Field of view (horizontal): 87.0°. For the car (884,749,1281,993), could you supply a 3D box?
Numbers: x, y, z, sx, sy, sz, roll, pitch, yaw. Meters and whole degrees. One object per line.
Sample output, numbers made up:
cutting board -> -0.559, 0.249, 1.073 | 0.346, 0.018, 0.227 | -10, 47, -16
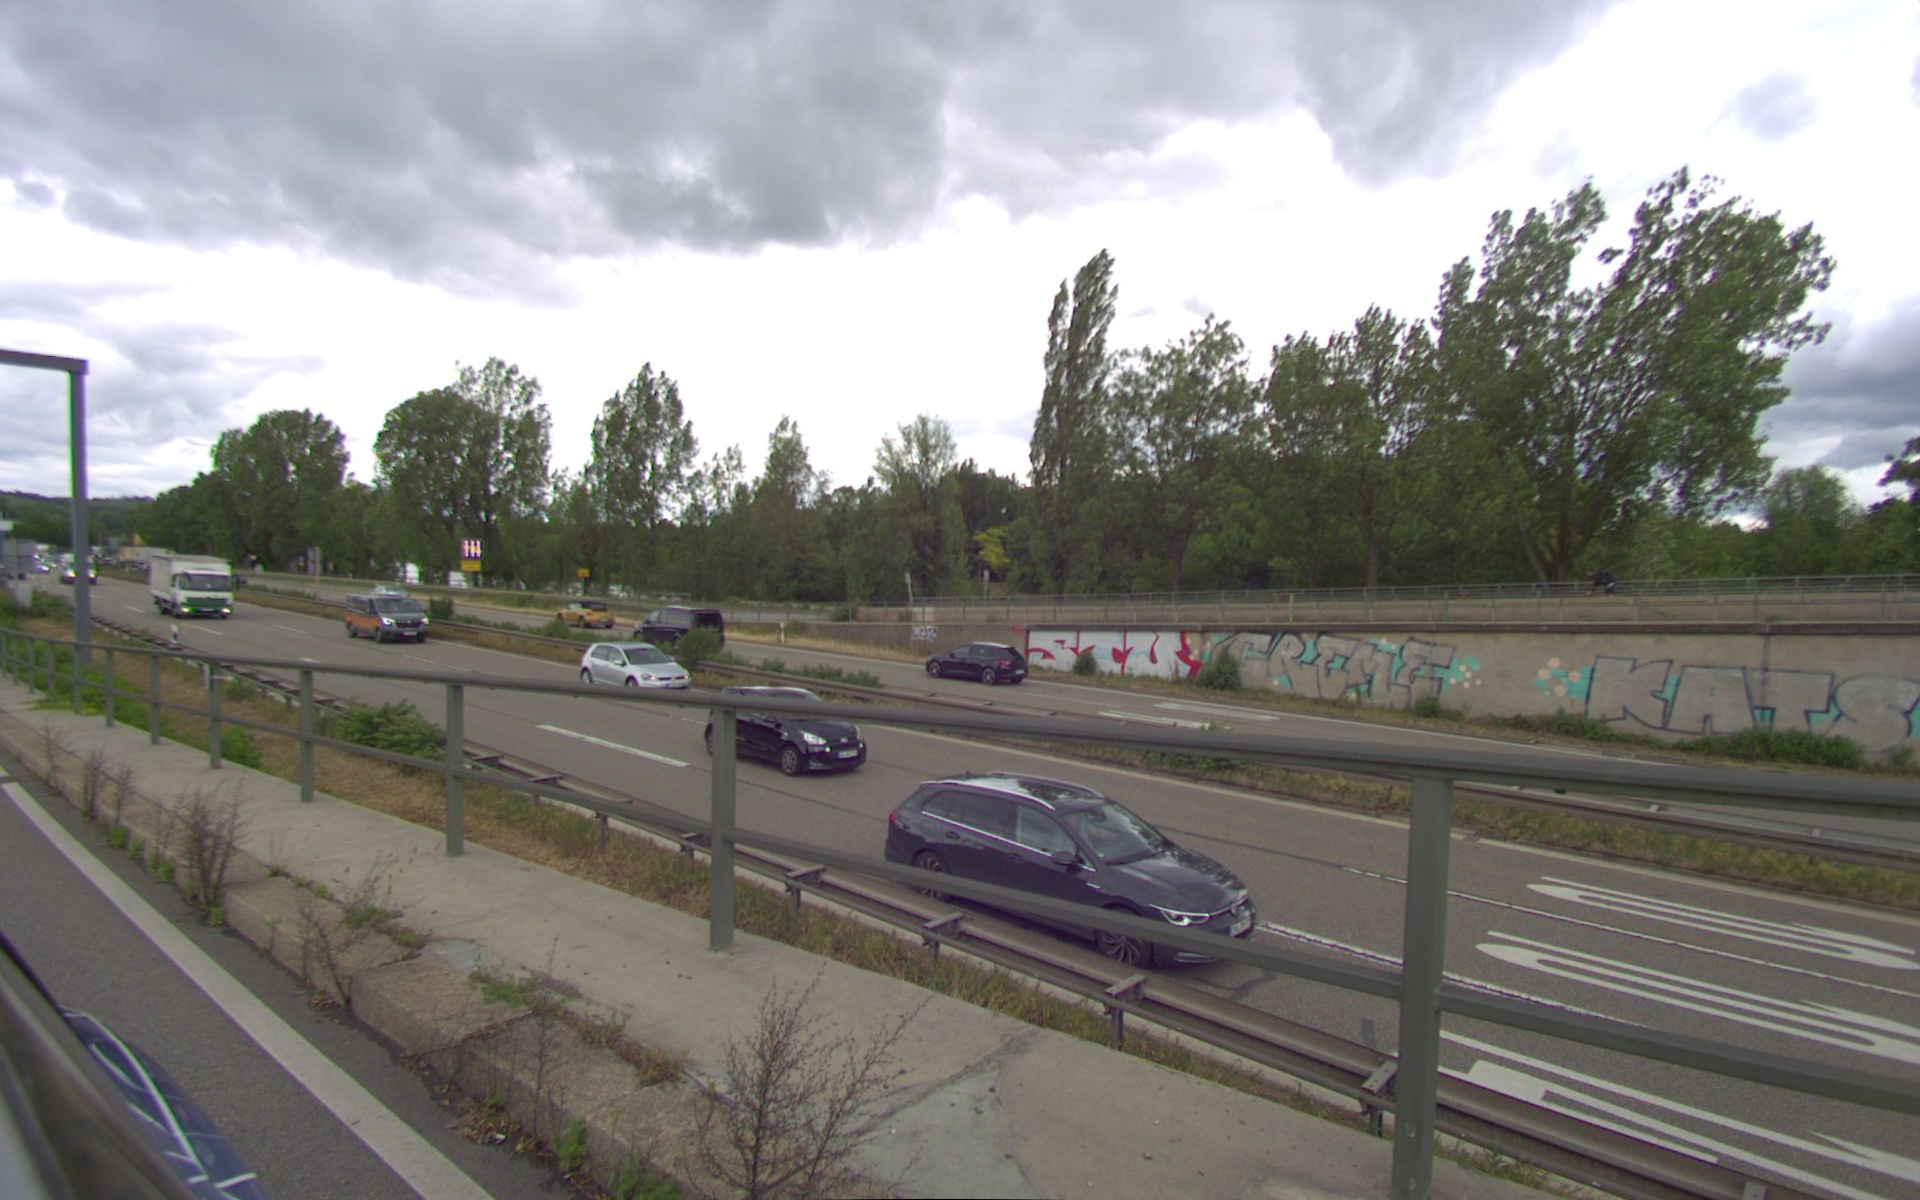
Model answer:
car -> 1.193, 2.814, 11.509 | 1.911, 1.512, 4.311 | 2, 0, -41

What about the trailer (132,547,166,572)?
trailer -> -136.148, -6.864, 169.784 | 13.519, 3.978, 2.759 | 3, 3, 44

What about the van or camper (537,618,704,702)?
van or camper -> -10.414, 1.702, 30.699 | 6.346, 1.882, 1.862 | 3, 3, 41

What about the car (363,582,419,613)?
car -> -40.299, -0.193, 71.602 | 4.704, 1.704, 1.972 | 7, 4, 42

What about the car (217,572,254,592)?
car -> -64.997, -1.617, 90.795 | 4.002, 1.741, 1.971 | 2, 1, 44

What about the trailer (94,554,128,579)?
trailer -> -168.606, -6.666, 200.996 | 14.784, 4.708, 3.425 | 2, 2, 43

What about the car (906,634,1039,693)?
car -> 0.417, 2.290, 37.521 | 4.701, 1.705, 1.973 | 3, 2, 40

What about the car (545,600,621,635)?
car -> -21.418, 0.946, 57.366 | 4.701, 1.732, 1.973 | 3, 1, 41

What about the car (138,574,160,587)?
car -> -116.193, -2.863, 145.011 | 4.002, 1.765, 1.971 | 2, 1, 45

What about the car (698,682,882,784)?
car -> -3.440, 2.549, 20.126 | 3.648, 1.337, 1.705 | 4, 2, 42

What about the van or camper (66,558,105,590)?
van or camper -> -77.514, -2.356, 89.770 | 2.176, 2.623, 6.343 | 0, 3, -37

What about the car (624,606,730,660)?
car -> -12.561, 1.401, 44.777 | 5.116, 2.003, 2.069 | 4, 2, 43

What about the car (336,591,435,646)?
car -> -25.235, 0.753, 44.361 | 5.337, 2.028, 2.072 | 4, 2, 41

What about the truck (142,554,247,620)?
truck -> -41.013, -0.766, 54.102 | 7.567, 3.182, 3.000 | 3, 2, 41
